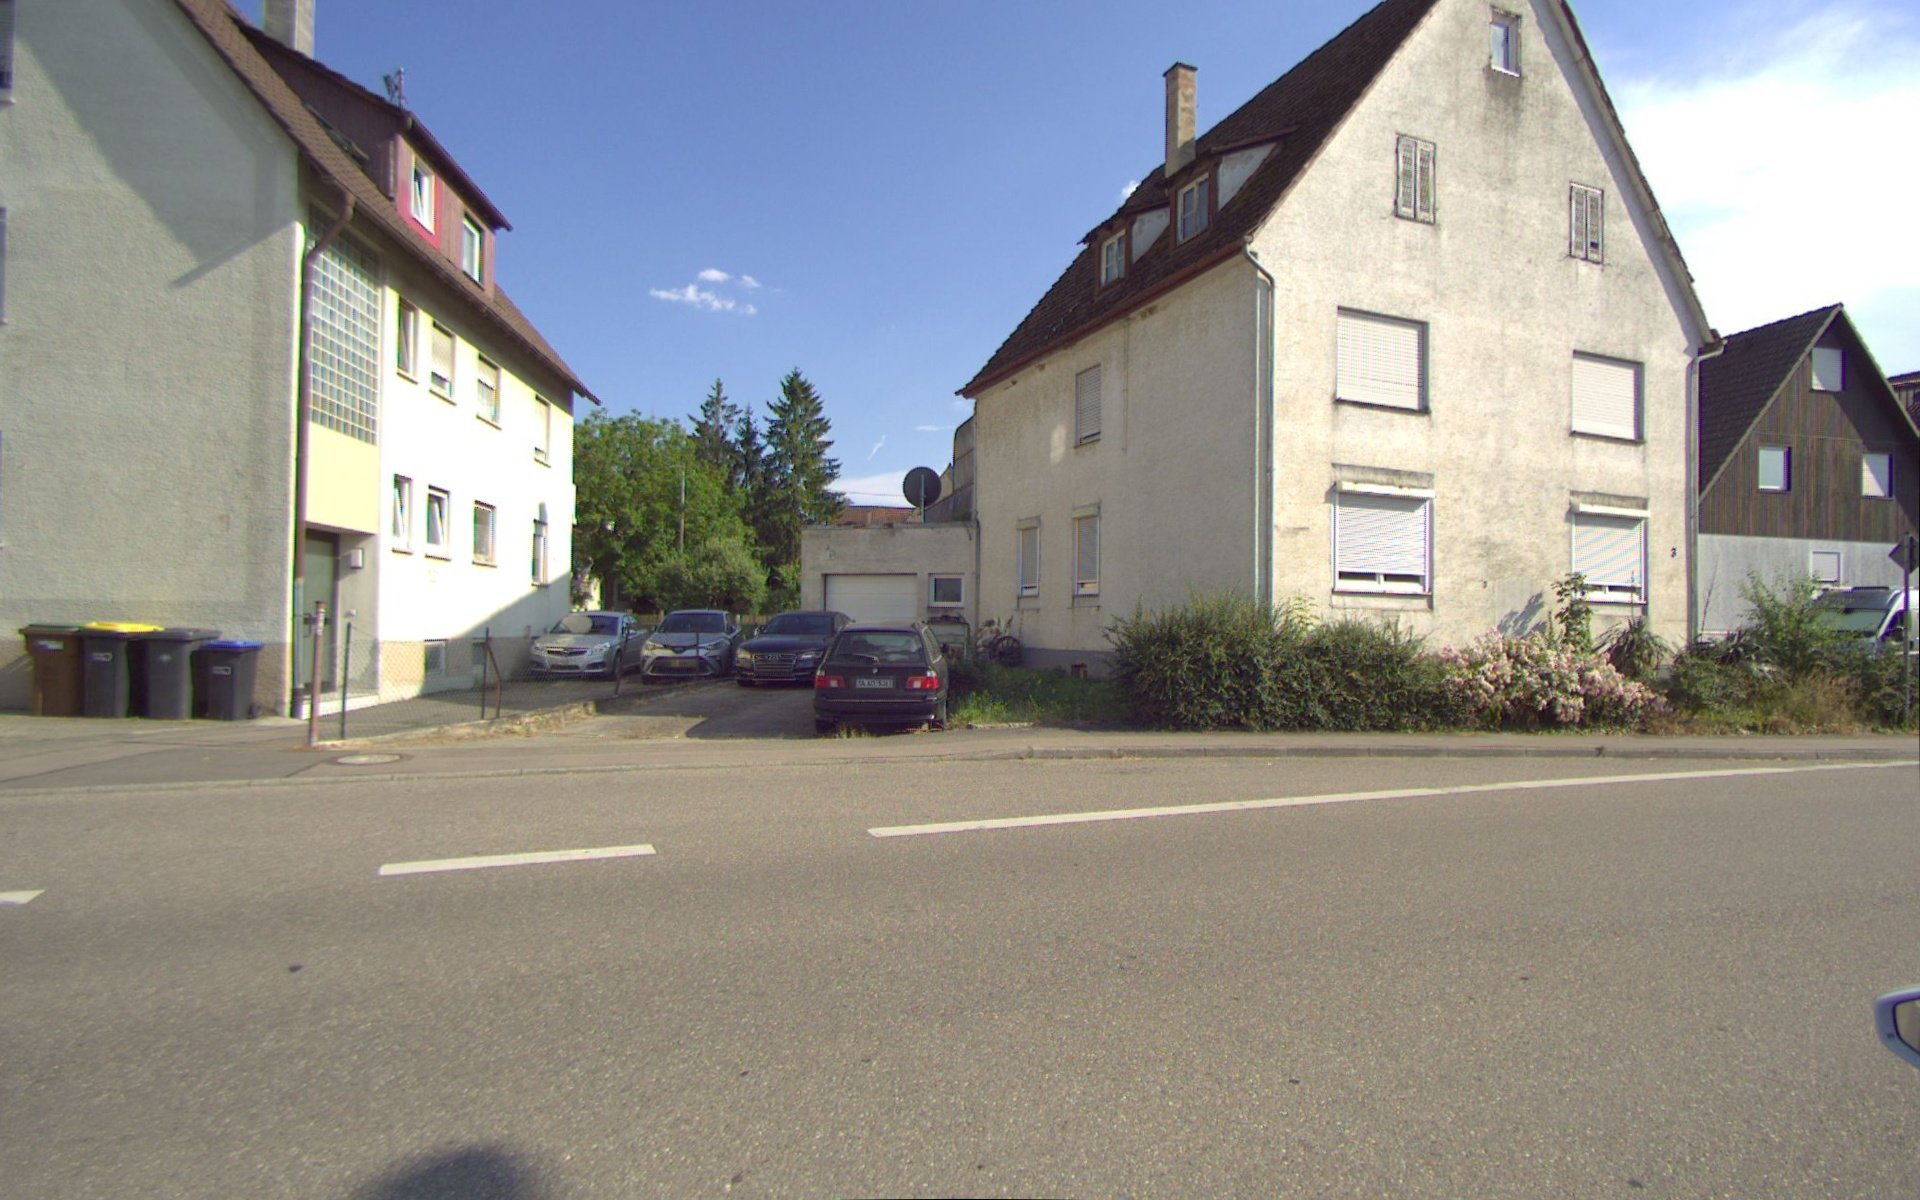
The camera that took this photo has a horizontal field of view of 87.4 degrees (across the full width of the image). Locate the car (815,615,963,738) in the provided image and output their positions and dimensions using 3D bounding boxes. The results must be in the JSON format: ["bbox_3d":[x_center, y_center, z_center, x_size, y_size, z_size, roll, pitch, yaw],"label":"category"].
[{"bbox_3d":[-0.869,0.971,14.347,1.620,1.452,4.001,1,0,3],"label":"car"}]

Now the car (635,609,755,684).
[{"bbox_3d":[-5.611,0.931,21.716,1.653,1.432,3.999,1,0,-2],"label":"car"}]

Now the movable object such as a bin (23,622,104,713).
[{"bbox_3d":[-10.471,0.787,11.741,0.548,1.029,0.362,3,-2,-8],"label":"movable object such as a bin"}]

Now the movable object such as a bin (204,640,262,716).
[{"bbox_3d":[-8.748,0.933,12.094,0.392,0.893,0.362,3,-2,-8],"label":"movable object such as a bin"}]

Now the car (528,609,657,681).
[{"bbox_3d":[-8.034,0.932,22.316,1.519,1.405,3.999,1,0,-2],"label":"car"}]

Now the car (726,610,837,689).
[{"bbox_3d":[-3.489,0.921,20.249,1.653,1.379,3.999,1,0,-2],"label":"car"}]

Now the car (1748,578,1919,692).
[{"bbox_3d":[22.905,0.869,25.185,6.002,2.630,2.155,1,-1,-21],"label":"car"}]

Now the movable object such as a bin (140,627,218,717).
[{"bbox_3d":[-9.271,0.847,11.933,0.566,1.036,0.362,3,-2,-8],"label":"movable object such as a bin"}]

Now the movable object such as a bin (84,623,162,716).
[{"bbox_3d":[-9.853,0.810,11.836,0.548,1.055,0.362,3,-2,-8],"label":"movable object such as a bin"}]
